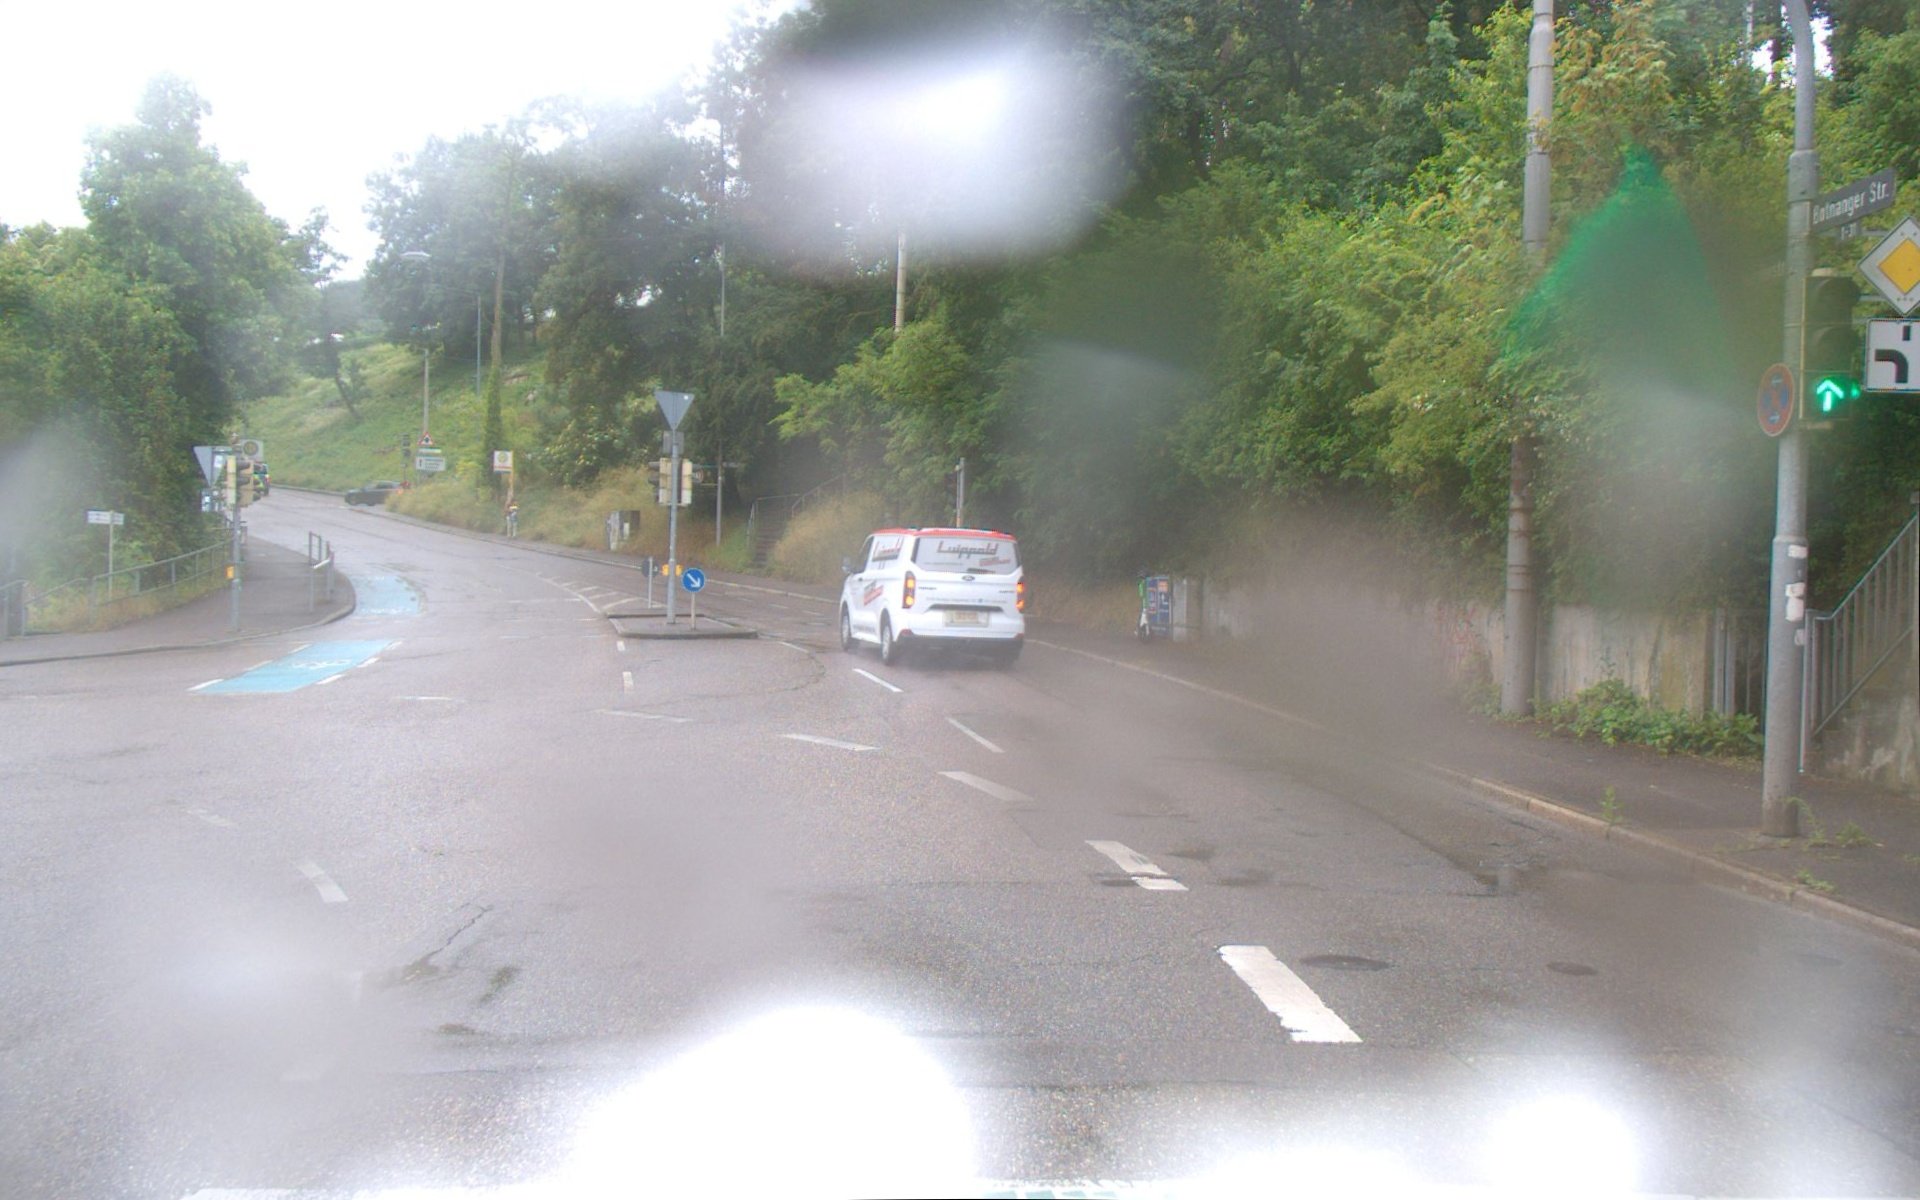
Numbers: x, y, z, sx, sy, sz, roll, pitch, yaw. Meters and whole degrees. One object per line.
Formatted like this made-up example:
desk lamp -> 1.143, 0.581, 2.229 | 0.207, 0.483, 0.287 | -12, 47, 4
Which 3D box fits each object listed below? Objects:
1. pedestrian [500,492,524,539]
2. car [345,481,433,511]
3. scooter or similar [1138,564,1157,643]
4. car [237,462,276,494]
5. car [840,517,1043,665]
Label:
pedestrian -> -17.866, -3.362, 65.997 | 0.867, 1.767, 0.861 | 1, -1, -19
car -> -32.454, -5.891, 93.976 | 4.296, 1.538, 1.965 | 3, 3, 12
scooter or similar -> 3.163, 0.050, 27.960 | 0.315, 1.302, 0.752 | 0, 3, 6
car -> -44.200, -7.624, 103.891 | 1.896, 1.811, 3.964 | 1, 2, -28
car -> -0.407, -0.172, 25.491 | 2.031, 2.041, 4.797 | 1, 1, -15
